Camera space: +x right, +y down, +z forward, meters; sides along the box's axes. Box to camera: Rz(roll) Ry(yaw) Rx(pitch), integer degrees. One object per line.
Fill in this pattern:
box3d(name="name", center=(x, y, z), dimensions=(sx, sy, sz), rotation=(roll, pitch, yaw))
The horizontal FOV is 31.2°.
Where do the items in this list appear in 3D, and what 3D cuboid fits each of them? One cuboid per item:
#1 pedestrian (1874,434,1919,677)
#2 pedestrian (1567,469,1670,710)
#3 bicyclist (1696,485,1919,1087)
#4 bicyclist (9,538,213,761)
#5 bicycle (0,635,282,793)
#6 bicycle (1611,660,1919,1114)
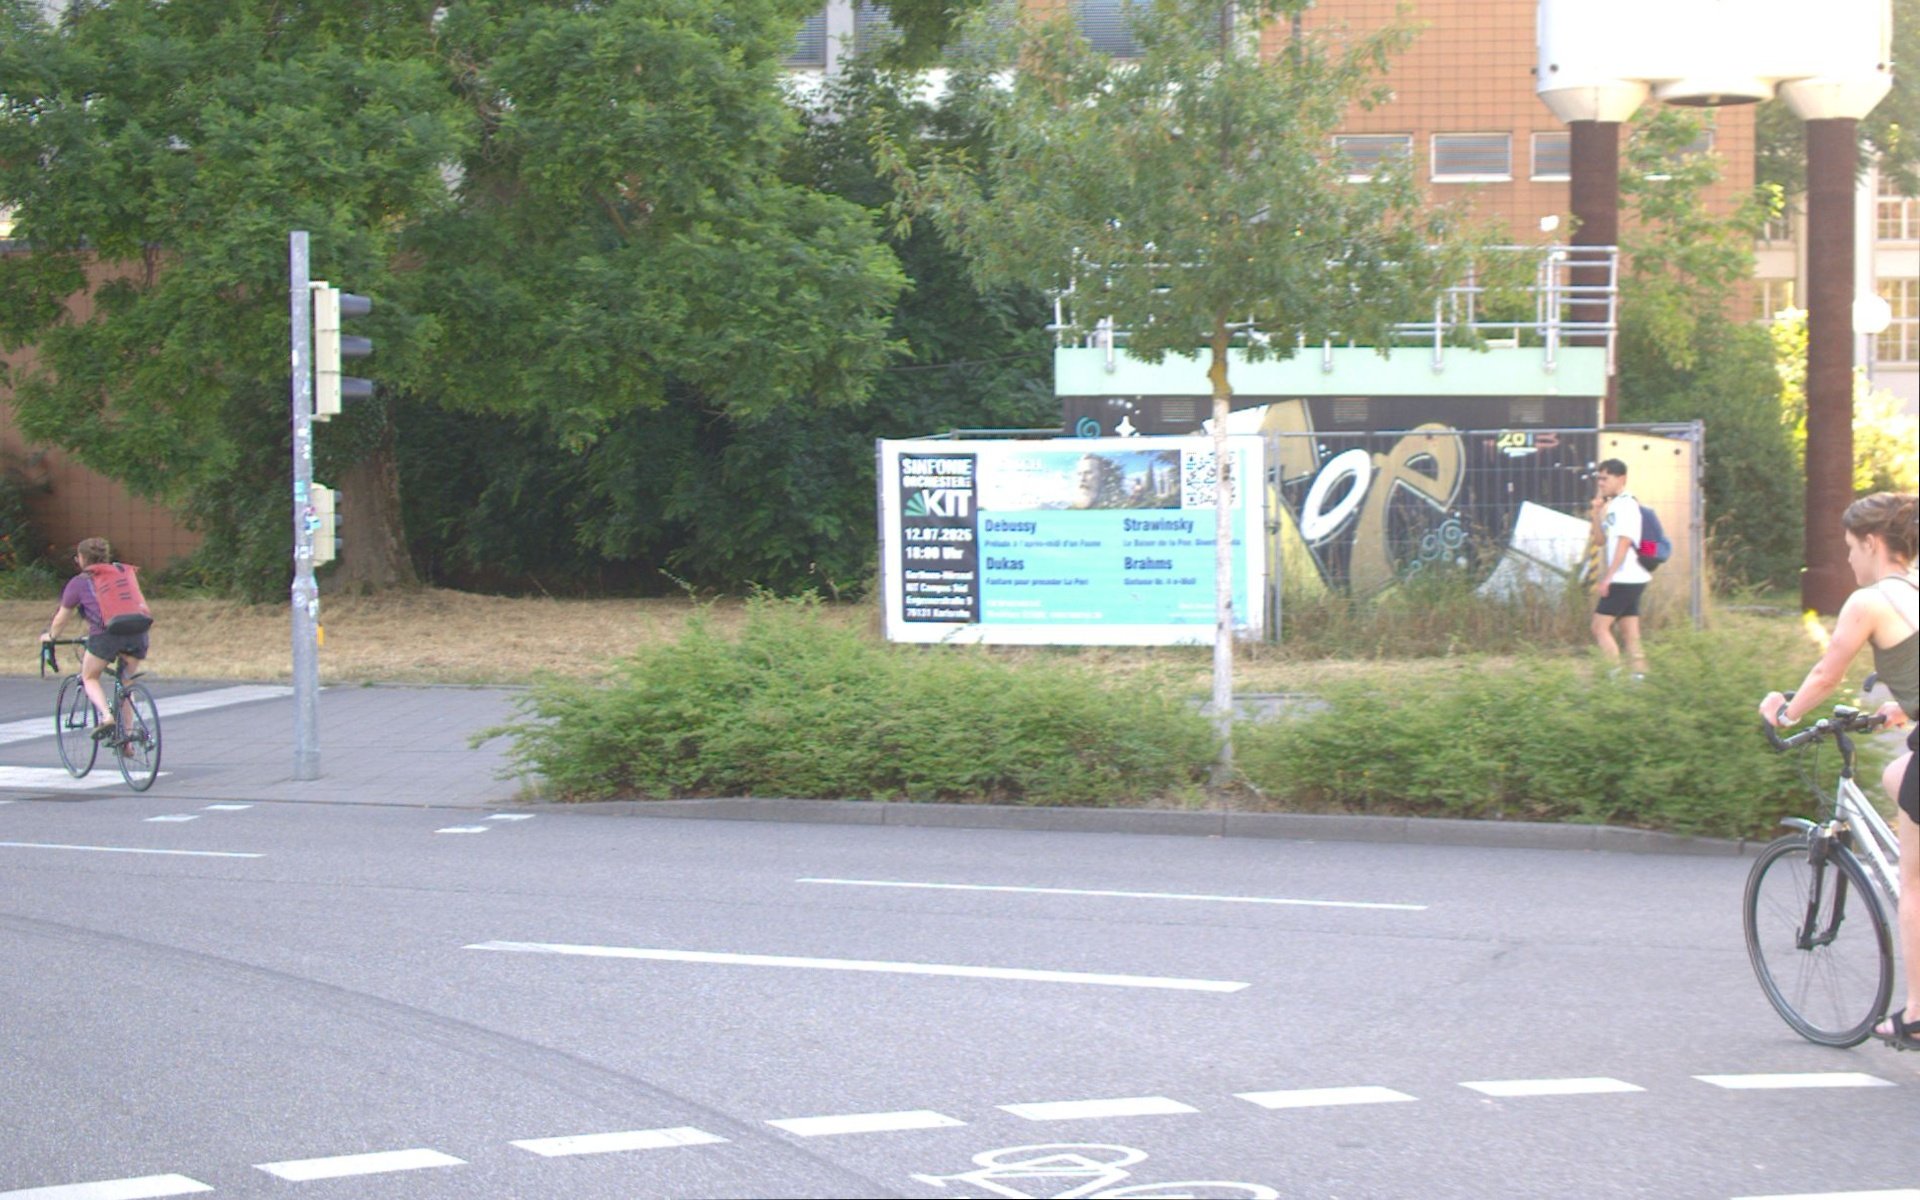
box3d(name="pedestrian", center=(7.540, -0.354, 26.715), dimensions=(0.575, 1.863, 0.623), rotation=(-1, 2, -28))
box3d(name="pedestrian", center=(4.705, -0.089, 24.565), dimensions=(0.629, 1.693, 0.622), rotation=(0, 2, 20))
box3d(name="bicyclist", center=(2.823, 0.500, 10.211), dimensions=(0.778, 1.671, 1.093), rotation=(-1, 2, -19))
box3d(name="bicyclist", center=(-5.409, 0.305, 21.903), dimensions=(1.074, 1.380, 0.720), rotation=(0, 0, 35))
box3d(name="bicycle", center=(-5.376, 0.705, 21.881), dimensions=(2.246, 0.949, 0.720), rotation=(0, 0, 35))
box3d(name="bicycle", center=(2.851, 0.823, 10.151), dimensions=(0.778, 1.152, 2.292), rotation=(-1, 2, -19))
